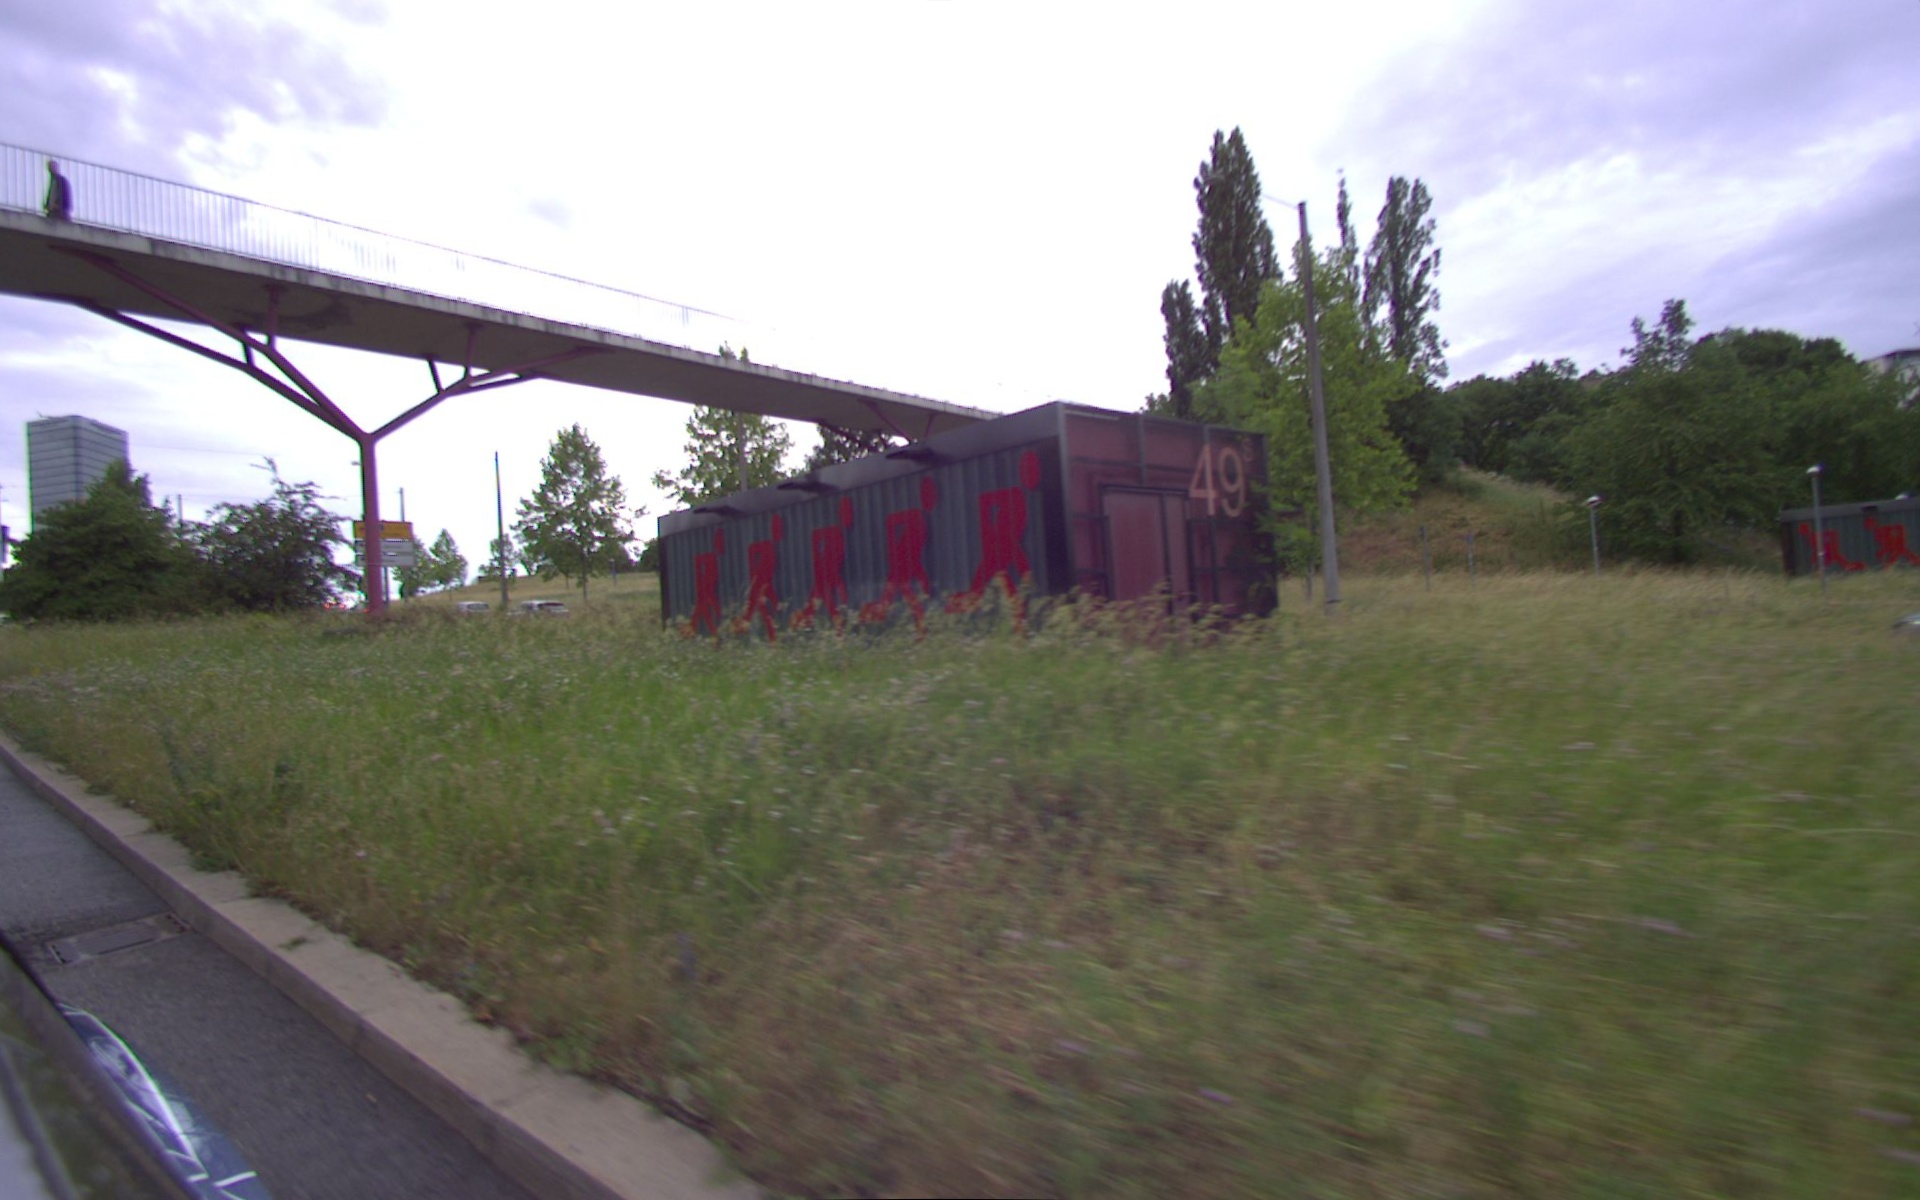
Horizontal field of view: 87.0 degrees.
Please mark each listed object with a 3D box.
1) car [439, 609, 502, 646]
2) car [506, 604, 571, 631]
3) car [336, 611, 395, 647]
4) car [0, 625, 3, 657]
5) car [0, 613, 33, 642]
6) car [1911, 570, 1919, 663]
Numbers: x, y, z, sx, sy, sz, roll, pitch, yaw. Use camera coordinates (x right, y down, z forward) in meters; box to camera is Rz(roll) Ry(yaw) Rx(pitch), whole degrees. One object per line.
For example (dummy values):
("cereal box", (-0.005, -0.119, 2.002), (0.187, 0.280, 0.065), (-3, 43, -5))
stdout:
("car", (-29.173, 1.604, 60.237), (4.000, 2.028, 1.972), (-1, 3, 43))
("car", (-18.656, 0.746, 44.748), (3.082, 0.951, 1.254), (2, 5, 38))
("car", (-36.749, 1.765, 62.524), (4.000, 2.028, 1.972), (-1, 3, 43))
("car", (-54.469, 2.275, 55.709), (1.967, 1.785, 4.010), (1, -3, -34))
("car", (-60.710, 1.732, 64.446), (1.967, 1.785, 4.009), (-1, 0, -36))
("car", (18.269, 0.276, 16.541), (3.785, 1.585, 1.641), (-1, 3, 38))
